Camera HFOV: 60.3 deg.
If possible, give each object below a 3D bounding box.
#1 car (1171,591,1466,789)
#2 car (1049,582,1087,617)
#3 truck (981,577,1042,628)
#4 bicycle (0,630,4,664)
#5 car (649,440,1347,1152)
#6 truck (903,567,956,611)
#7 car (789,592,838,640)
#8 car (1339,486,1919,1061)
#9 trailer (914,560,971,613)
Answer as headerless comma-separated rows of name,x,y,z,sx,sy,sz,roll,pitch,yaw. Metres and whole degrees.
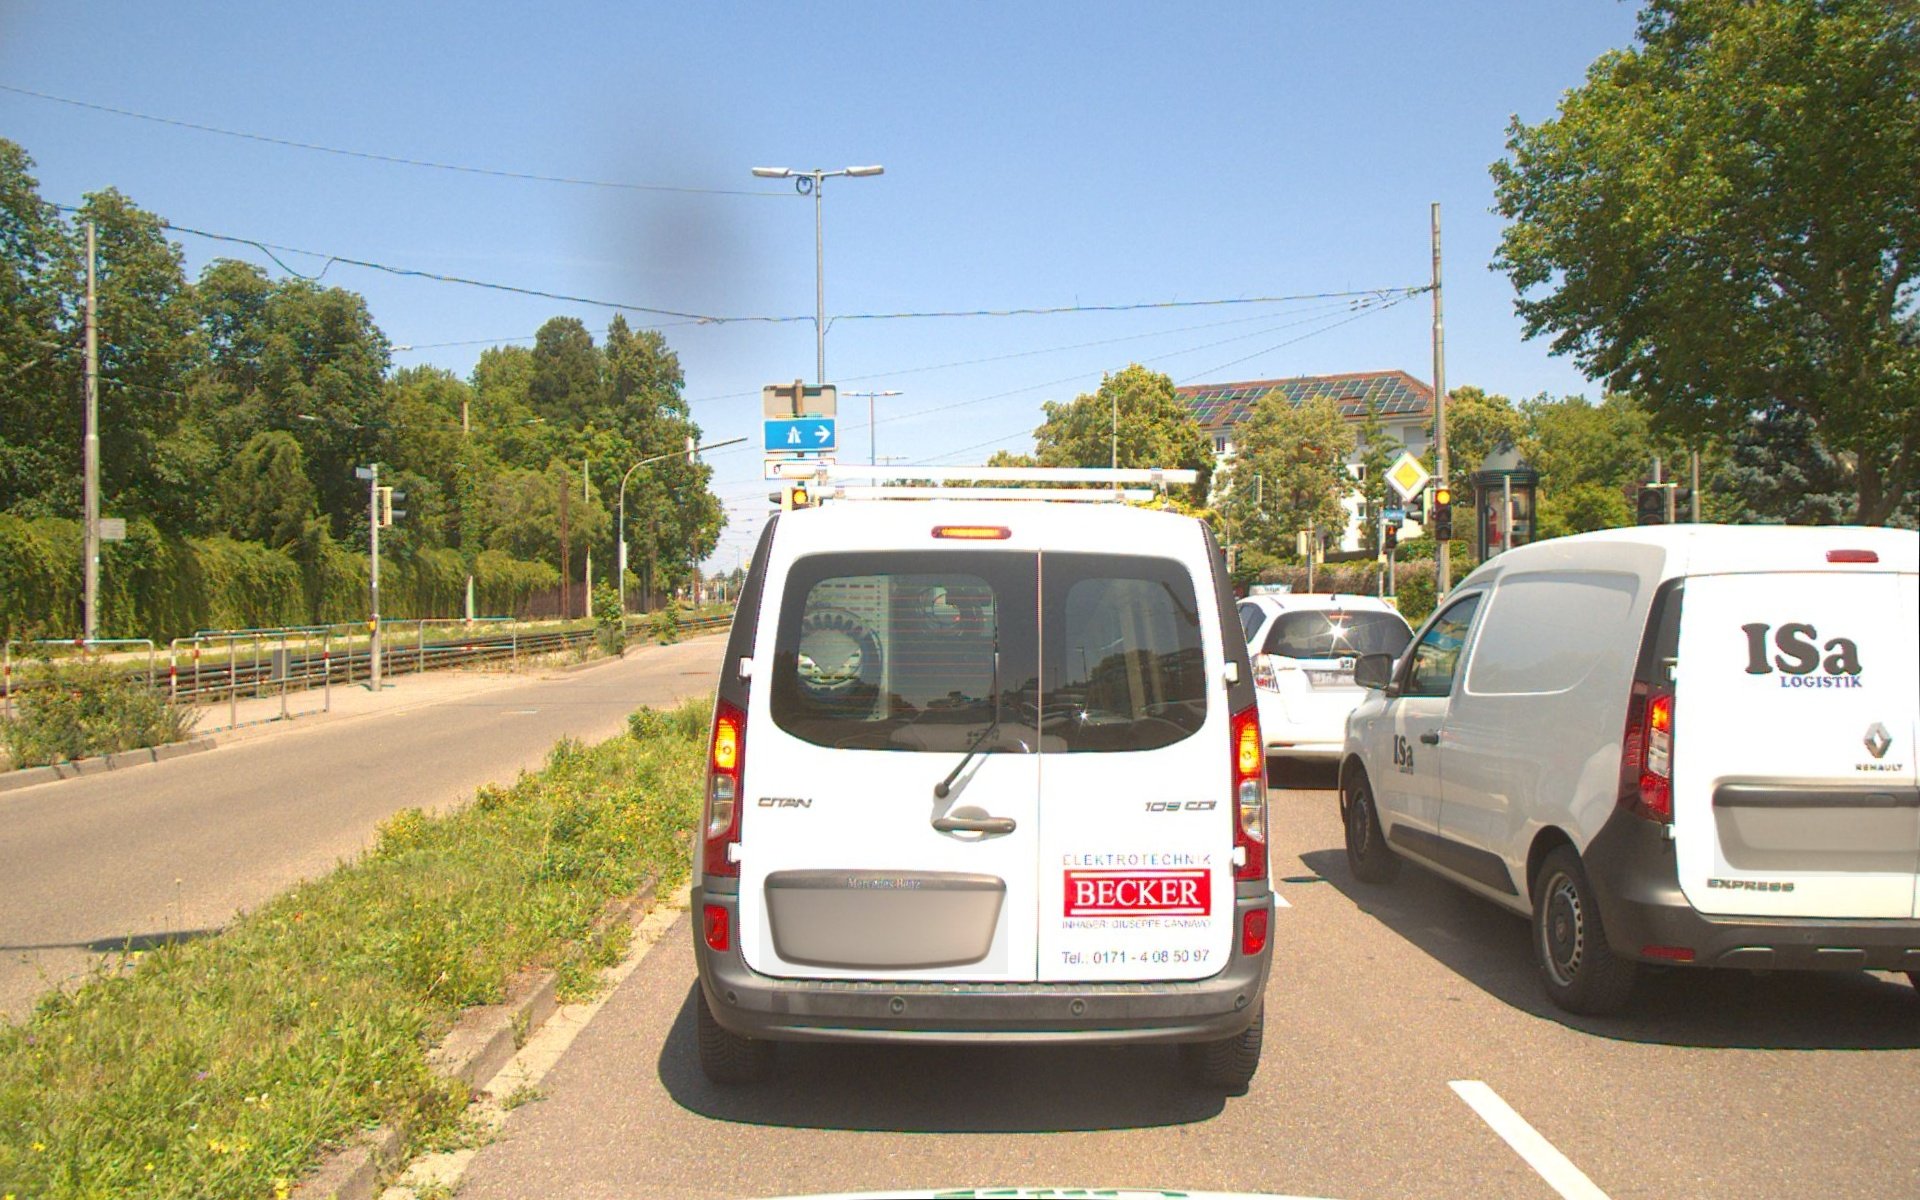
car,3.043,0.695,14.841,1.720,1.512,3.999,1,0,-1
car,6.557,-0.029,100.885,1.953,2.049,3.999,0,0,-1
truck,2.244,0.087,69.944,2.251,2.049,6.731,0,0,4
bicycle,-19.143,0.929,31.765,0.549,0.659,1.720,0,0,0
car,0.058,0.520,6.313,1.829,1.868,3.847,1,0,-2
truck,-2.713,-0.924,143.178,3.509,3.696,8.792,0,0,-8
car,-6.345,0.668,71.825,1.954,2.049,3.998,0,0,-3
car,3.031,0.562,7.394,1.675,1.862,4.012,0,0,-1
trailer,-1.463,-1.108,134.377,3.462,4.121,8.960,0,0,-8
